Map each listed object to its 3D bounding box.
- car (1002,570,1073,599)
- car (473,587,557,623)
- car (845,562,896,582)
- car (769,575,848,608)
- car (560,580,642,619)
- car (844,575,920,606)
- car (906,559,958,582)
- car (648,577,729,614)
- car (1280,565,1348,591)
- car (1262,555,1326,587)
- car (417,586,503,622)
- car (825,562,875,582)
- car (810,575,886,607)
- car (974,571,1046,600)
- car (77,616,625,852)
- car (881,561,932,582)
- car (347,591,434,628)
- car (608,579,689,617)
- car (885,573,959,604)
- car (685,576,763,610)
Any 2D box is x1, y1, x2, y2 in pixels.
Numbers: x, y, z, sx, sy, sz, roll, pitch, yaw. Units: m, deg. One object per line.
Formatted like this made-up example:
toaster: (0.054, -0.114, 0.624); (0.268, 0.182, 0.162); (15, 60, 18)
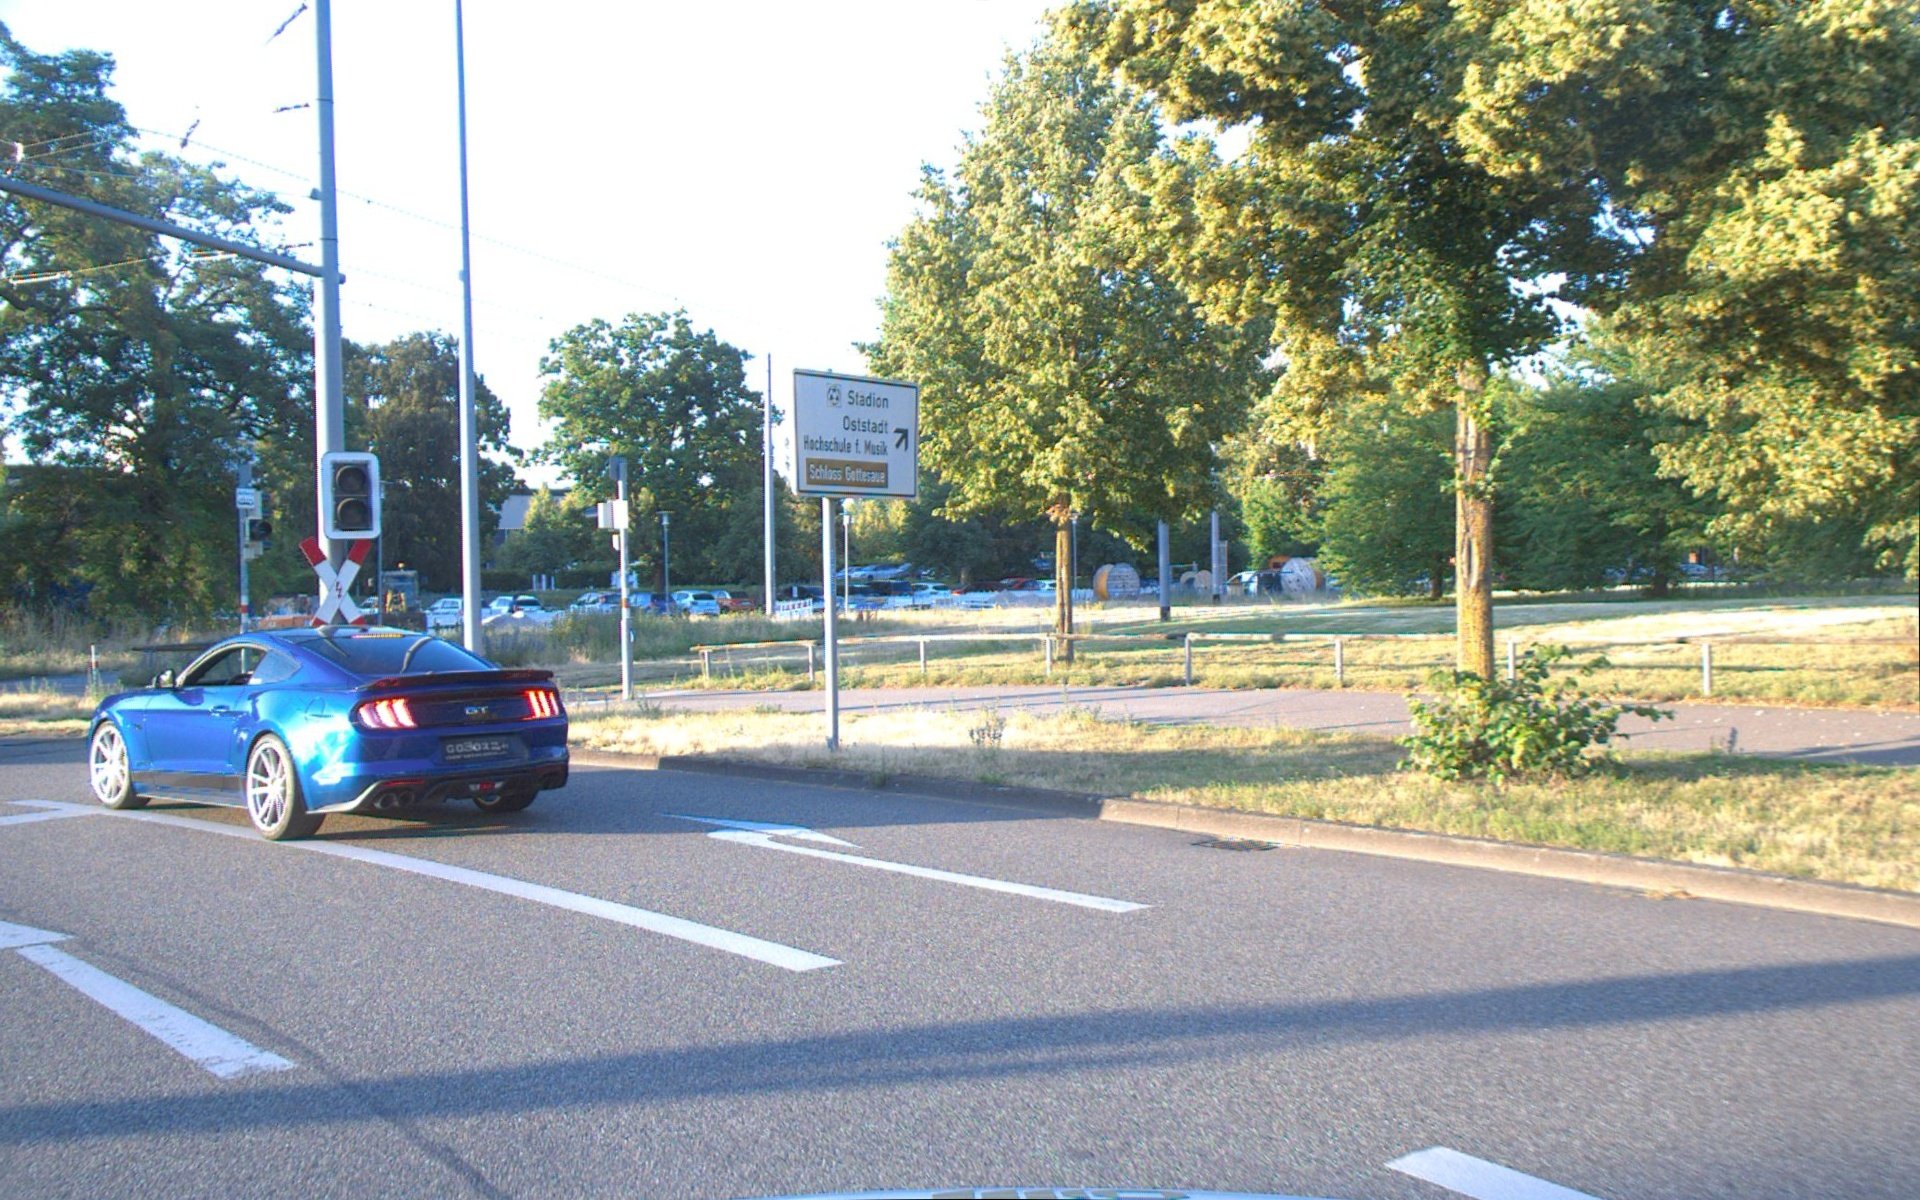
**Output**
car: (4.564, -0.890, 97.714); (3.932, 1.581, 1.891); (-1, 1, 44)
car: (-20.028, 0.235, 74.367); (3.932, 1.470, 1.940); (-1, 1, 44)
car: (-7.480, -2.353, 138.599); (3.967, 1.581, 1.874); (-2, 1, -43)
car: (-7.898, -0.418, 86.088); (4.029, 1.581, 1.891); (-1, 1, 44)
car: (-16.968, -0.016, 78.083); (3.932, 1.691, 1.940); (-1, 1, 44)
car: (-4.239, -0.500, 89.256); (3.932, 1.581, 1.891); (-1, 1, 44)
car: (-2.226, -2.352, 132.560); (3.969, 1.775, 1.968); (-2, 2, -44)
car: (-13.279, -0.196, 80.910); (3.932, 1.691, 1.940); (-1, 1, 44)
car: (20.625, -1.257, 96.422); (3.546, 1.508, 1.701); (0, 1, 41)
car: (23.086, -1.997, 114.509); (3.932, 2.132, 1.891); (-1, 1, 44)
car: (-22.028, 0.200, 72.840); (3.932, 1.470, 1.940); (-1, 1, 44)
car: (-9.362, -2.349, 140.863); (3.967, 1.581, 1.874); (-2, 1, -43)
car: (-5.943, -0.457, 87.539); (3.932, 1.581, 1.891); (-1, 1, 44)
car: (2.903, -0.842, 95.912); (3.932, 1.581, 1.891); (-1, 1, 44)
car: (-4.595, 0.817, 12.091); (4.590, 1.365, 1.945); (-1, 0, 43)
car: (-4.359, -2.307, 135.136); (3.967, 1.581, 1.874); (-2, 1, -43)
car: (-24.471, 0.403, 70.986); (3.932, 1.470, 1.940); (-1, 1, 44)
car: (-14.995, -0.090, 79.497); (3.932, 1.691, 1.940); (-1, 1, 44)
car: (-2.106, -0.613, 91.190); (3.932, 1.581, 1.891); (-1, 1, 44)
car: (-11.874, -0.339, 83.116); (3.932, 1.581, 1.891); (-1, 1, 44)
